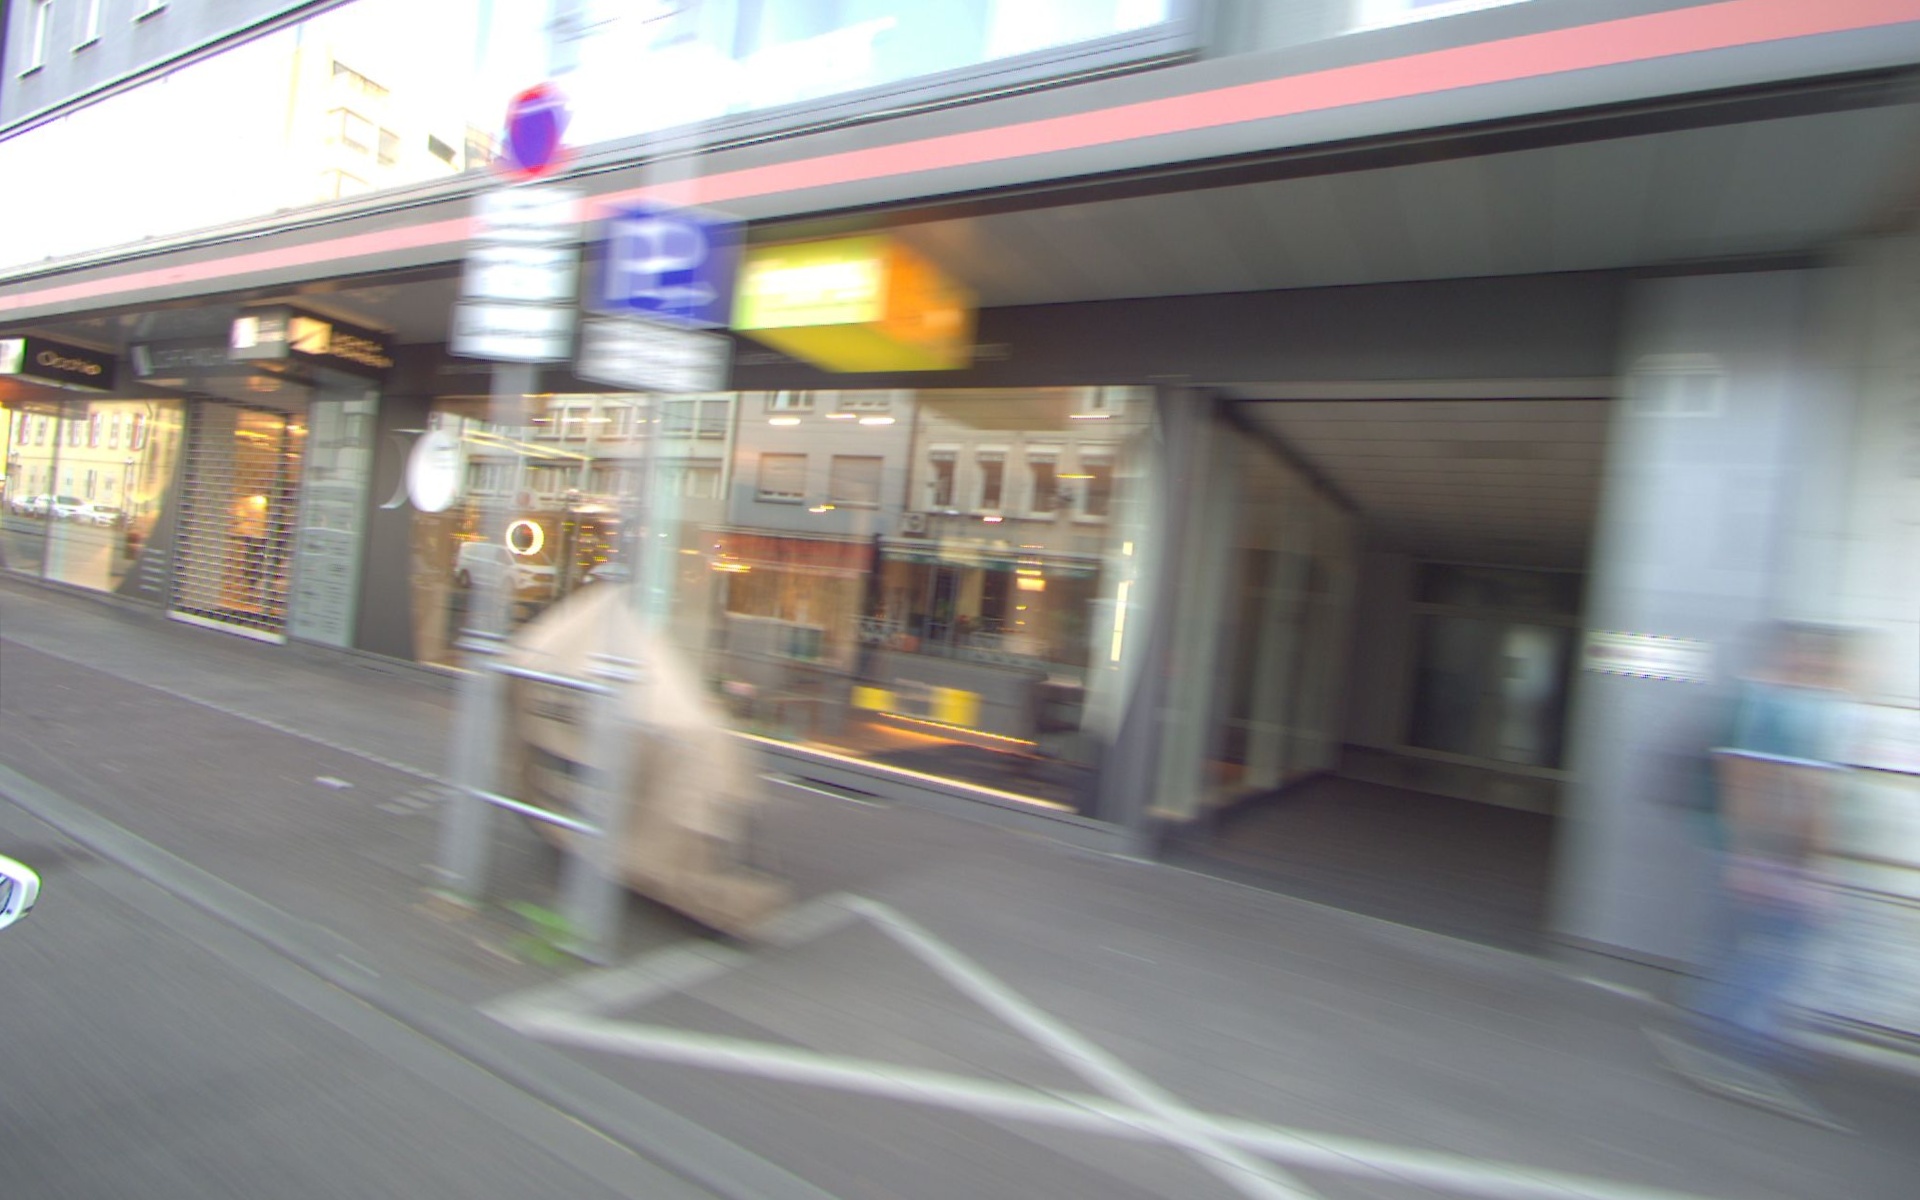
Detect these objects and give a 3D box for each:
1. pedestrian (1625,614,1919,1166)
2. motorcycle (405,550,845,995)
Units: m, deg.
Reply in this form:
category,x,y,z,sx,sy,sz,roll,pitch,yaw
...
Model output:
category,x,y,z,sx,sy,sz,roll,pitch,yaw
pedestrian,3.086,0.980,3.799,0.754,1.769,0.679,7,2,31
motorcycle,-1.548,0.594,4.420,1.975,1.435,0.811,7,2,40
